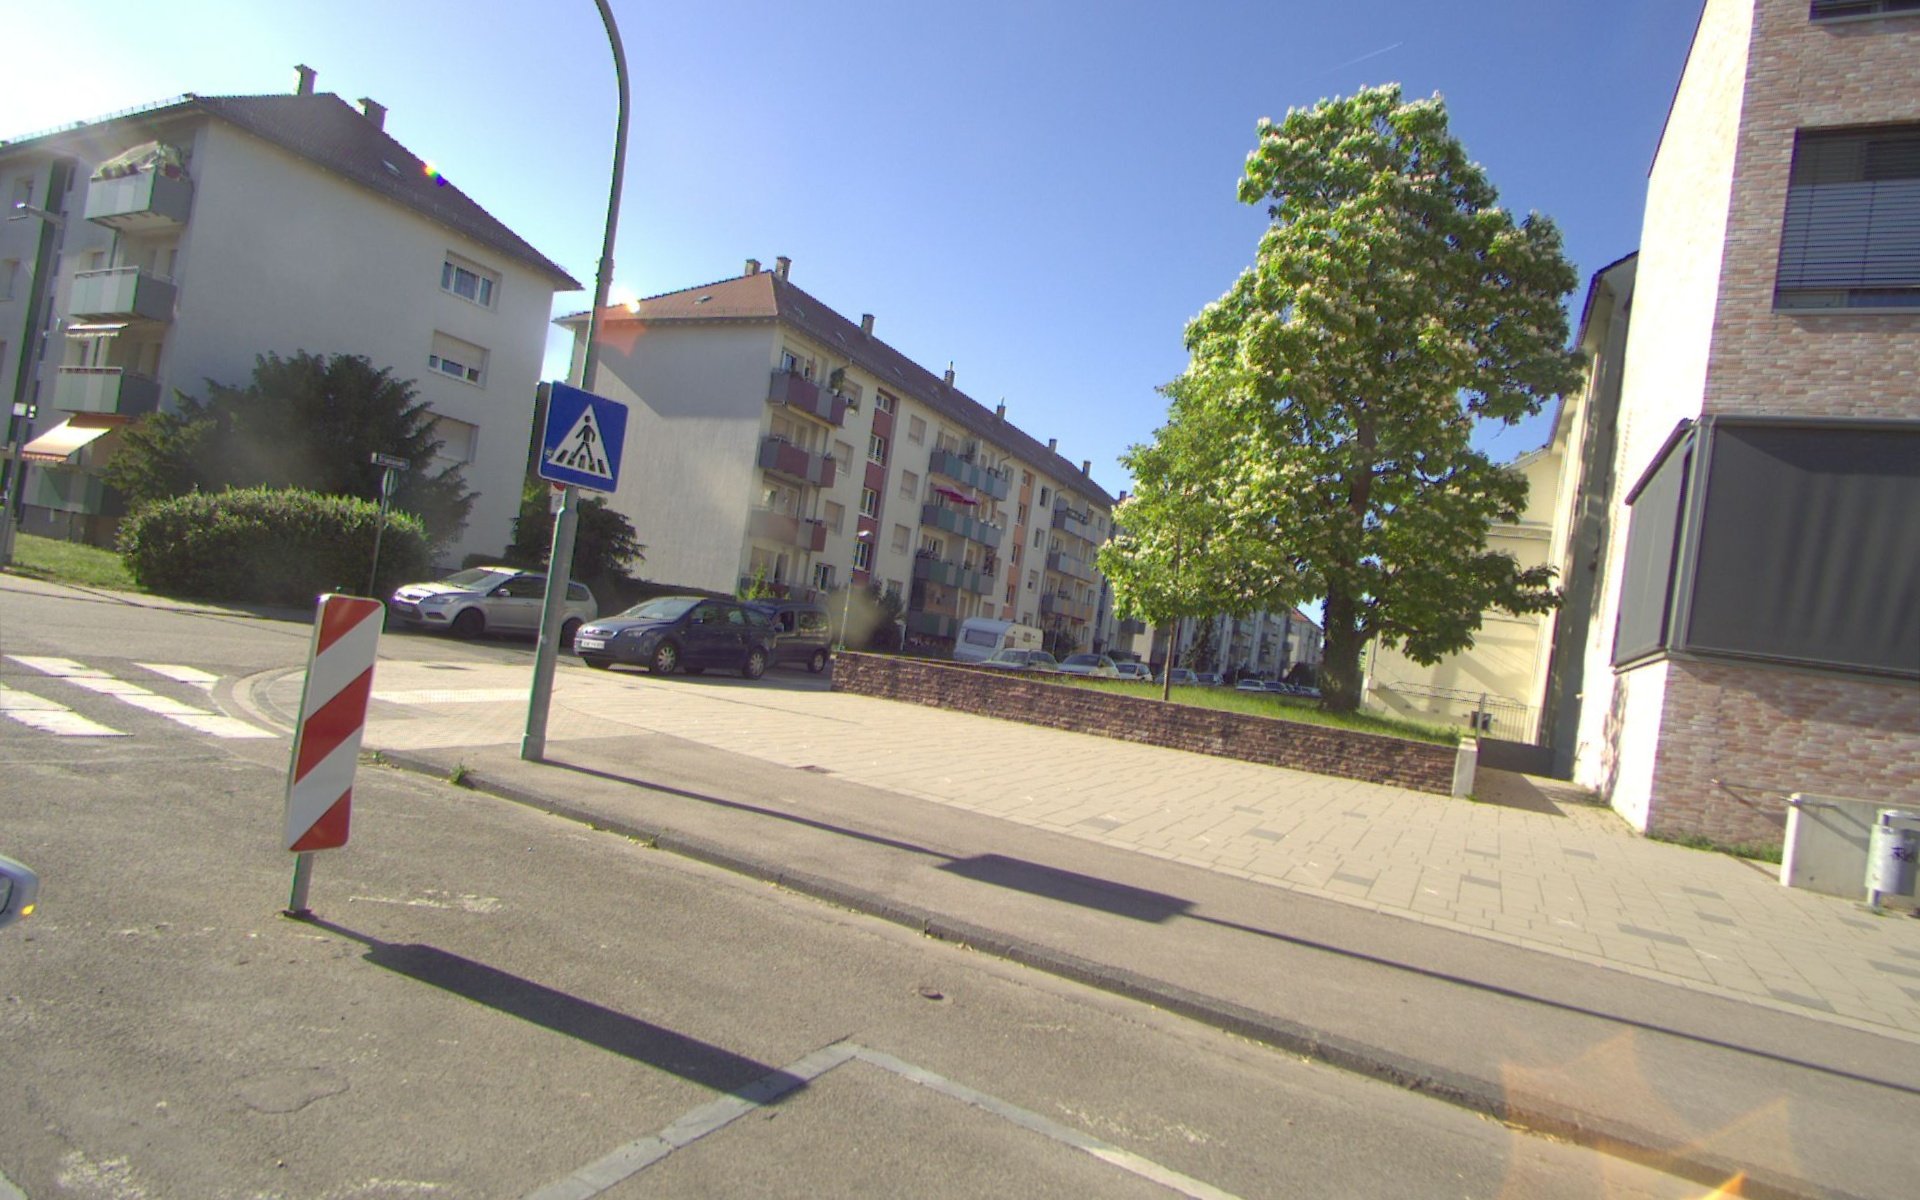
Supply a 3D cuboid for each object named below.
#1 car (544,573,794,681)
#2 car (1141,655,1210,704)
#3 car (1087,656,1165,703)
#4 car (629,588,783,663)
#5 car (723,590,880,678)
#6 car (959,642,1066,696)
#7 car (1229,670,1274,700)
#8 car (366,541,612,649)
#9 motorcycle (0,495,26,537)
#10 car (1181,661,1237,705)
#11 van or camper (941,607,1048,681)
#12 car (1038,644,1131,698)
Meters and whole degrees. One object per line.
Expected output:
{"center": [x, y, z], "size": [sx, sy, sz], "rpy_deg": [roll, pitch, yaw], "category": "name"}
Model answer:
{"center": [-5.331, 0.600, 19.135], "size": [1.873, 1.490, 4.562], "rpy_deg": [7, -3, 26], "category": "car"}
{"center": [11.120, 4.103, 51.710], "size": [1.967, 2.036, 4.558], "rpy_deg": [8, -2, 30], "category": "car"}
{"center": [7.311, 3.491, 43.926], "size": [1.898, 1.600, 4.561], "rpy_deg": [8, -2, 28], "category": "car"}
{"center": [-6.871, 0.757, 27.668], "size": [1.791, 1.528, 3.984], "rpy_deg": [8, -2, 27], "category": "car"}
{"center": [-4.172, 0.971, 27.122], "size": [1.871, 1.810, 4.156], "rpy_deg": [8, -2, 28], "category": "car"}
{"center": [1.814, 2.326, 33.373], "size": [1.868, 1.497, 4.160], "rpy_deg": [3, -4, 28], "category": "car"}
{"center": [20.058, 5.851, 69.129], "size": [1.965, 1.594, 4.560], "rpy_deg": [8, -2, 28], "category": "car"}
{"center": [-9.863, -0.023, 21.474], "size": [1.880, 1.641, 4.422], "rpy_deg": [8, -2, 26], "category": "car"}
{"center": [-29.523, -2.634, 30.640], "size": [1.999, 1.164, 0.585], "rpy_deg": [8, -1, 19], "category": "motorcycle"}
{"center": [14.040, 4.696, 56.547], "size": [1.752, 2.036, 4.560], "rpy_deg": [8, -2, 28], "category": "car"}
{"center": [1.603, 1.980, 44.002], "size": [2.432, 2.566, 5.245], "rpy_deg": [8, -2, 26], "category": "van or camper"}
{"center": [4.949, 2.842, 39.486], "size": [1.965, 1.646, 4.560], "rpy_deg": [8, -2, 28], "category": "car"}
